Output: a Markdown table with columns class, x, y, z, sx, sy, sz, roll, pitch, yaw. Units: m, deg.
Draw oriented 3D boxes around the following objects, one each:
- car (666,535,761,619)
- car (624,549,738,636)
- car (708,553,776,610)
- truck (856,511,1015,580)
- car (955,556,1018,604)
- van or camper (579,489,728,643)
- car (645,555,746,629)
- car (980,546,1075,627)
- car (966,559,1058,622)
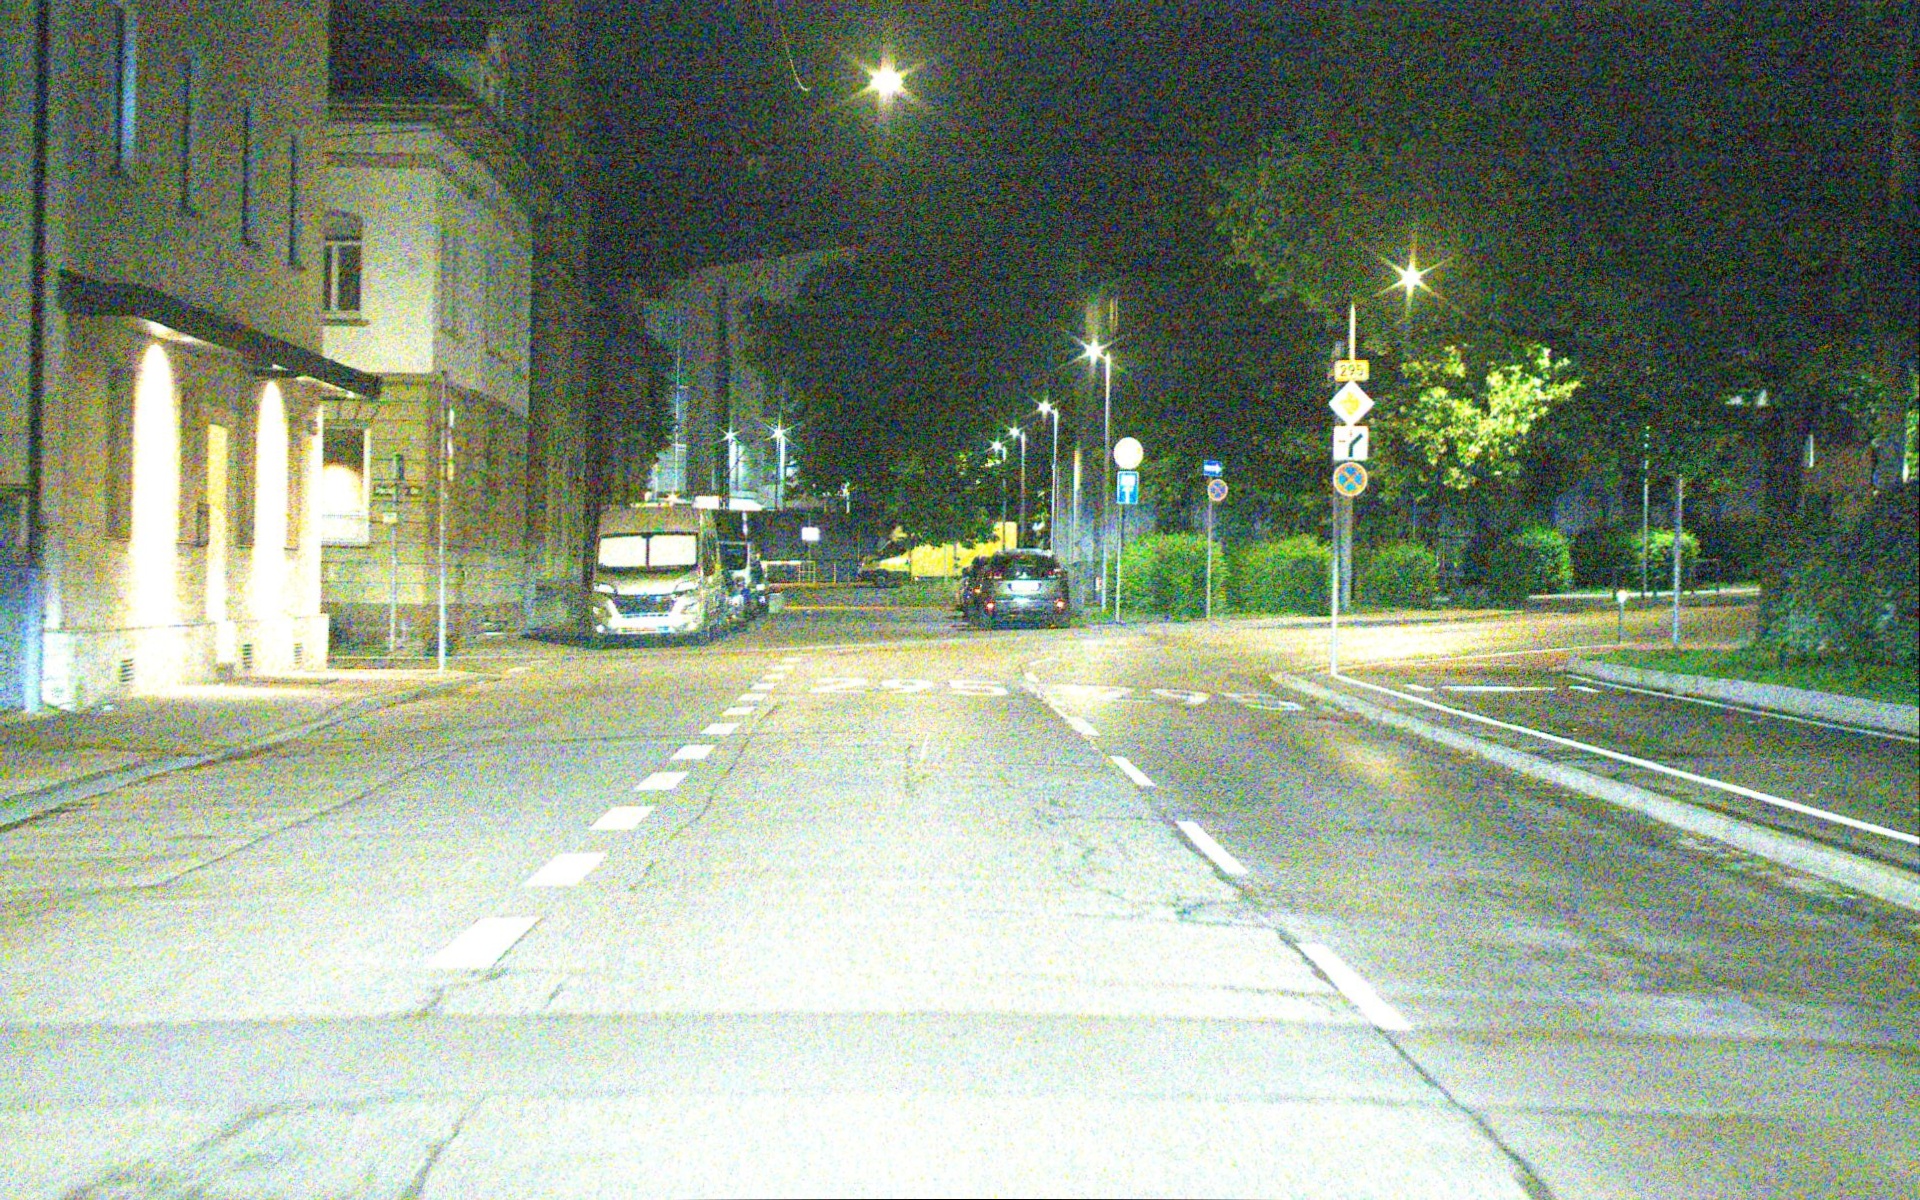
| class | x | y | z | sx | sy | sz | roll | pitch | yaw |
| --- | --- | --- | --- | --- | --- | --- | --- | --- | --- |
| car | -5.865 | -0.564 | 82.170 | 1.993 | 1.948 | 4.806 | 0 | 1 | -1 |
| car | -5.371 | -0.160 | 66.648 | 1.892 | 1.585 | 4.374 | -1 | 1 | -1 |
| car | -5.977 | -0.511 | 94.560 | 1.704 | 1.505 | 4.100 | 1 | 0 | -2 |
| truck | -1.081 | -2.368 | 149.081 | 6.775 | 2.835 | 2.000 | 1 | 1 | -3 |
| car | 0.794 | -0.626 | 105.455 | 1.758 | 1.440 | 4.026 | 0 | 1 | -2 |
| van or camper | -5.380 | -0.594 | 61.118 | 2.158 | 2.527 | 6.227 | -2 | 0 | -1 |
| car | -5.569 | -0.184 | 71.993 | 1.838 | 1.502 | 4.743 | -1 | 1 | -8 |
| car | 1.402 | -0.277 | 71.593 | 1.884 | 1.597 | 4.107 | -1 | 0 | 1 |
| car | 1.130 | -0.205 | 76.939 | 1.963 | 1.378 | 4.000 | 0 | 0 | 0 |
